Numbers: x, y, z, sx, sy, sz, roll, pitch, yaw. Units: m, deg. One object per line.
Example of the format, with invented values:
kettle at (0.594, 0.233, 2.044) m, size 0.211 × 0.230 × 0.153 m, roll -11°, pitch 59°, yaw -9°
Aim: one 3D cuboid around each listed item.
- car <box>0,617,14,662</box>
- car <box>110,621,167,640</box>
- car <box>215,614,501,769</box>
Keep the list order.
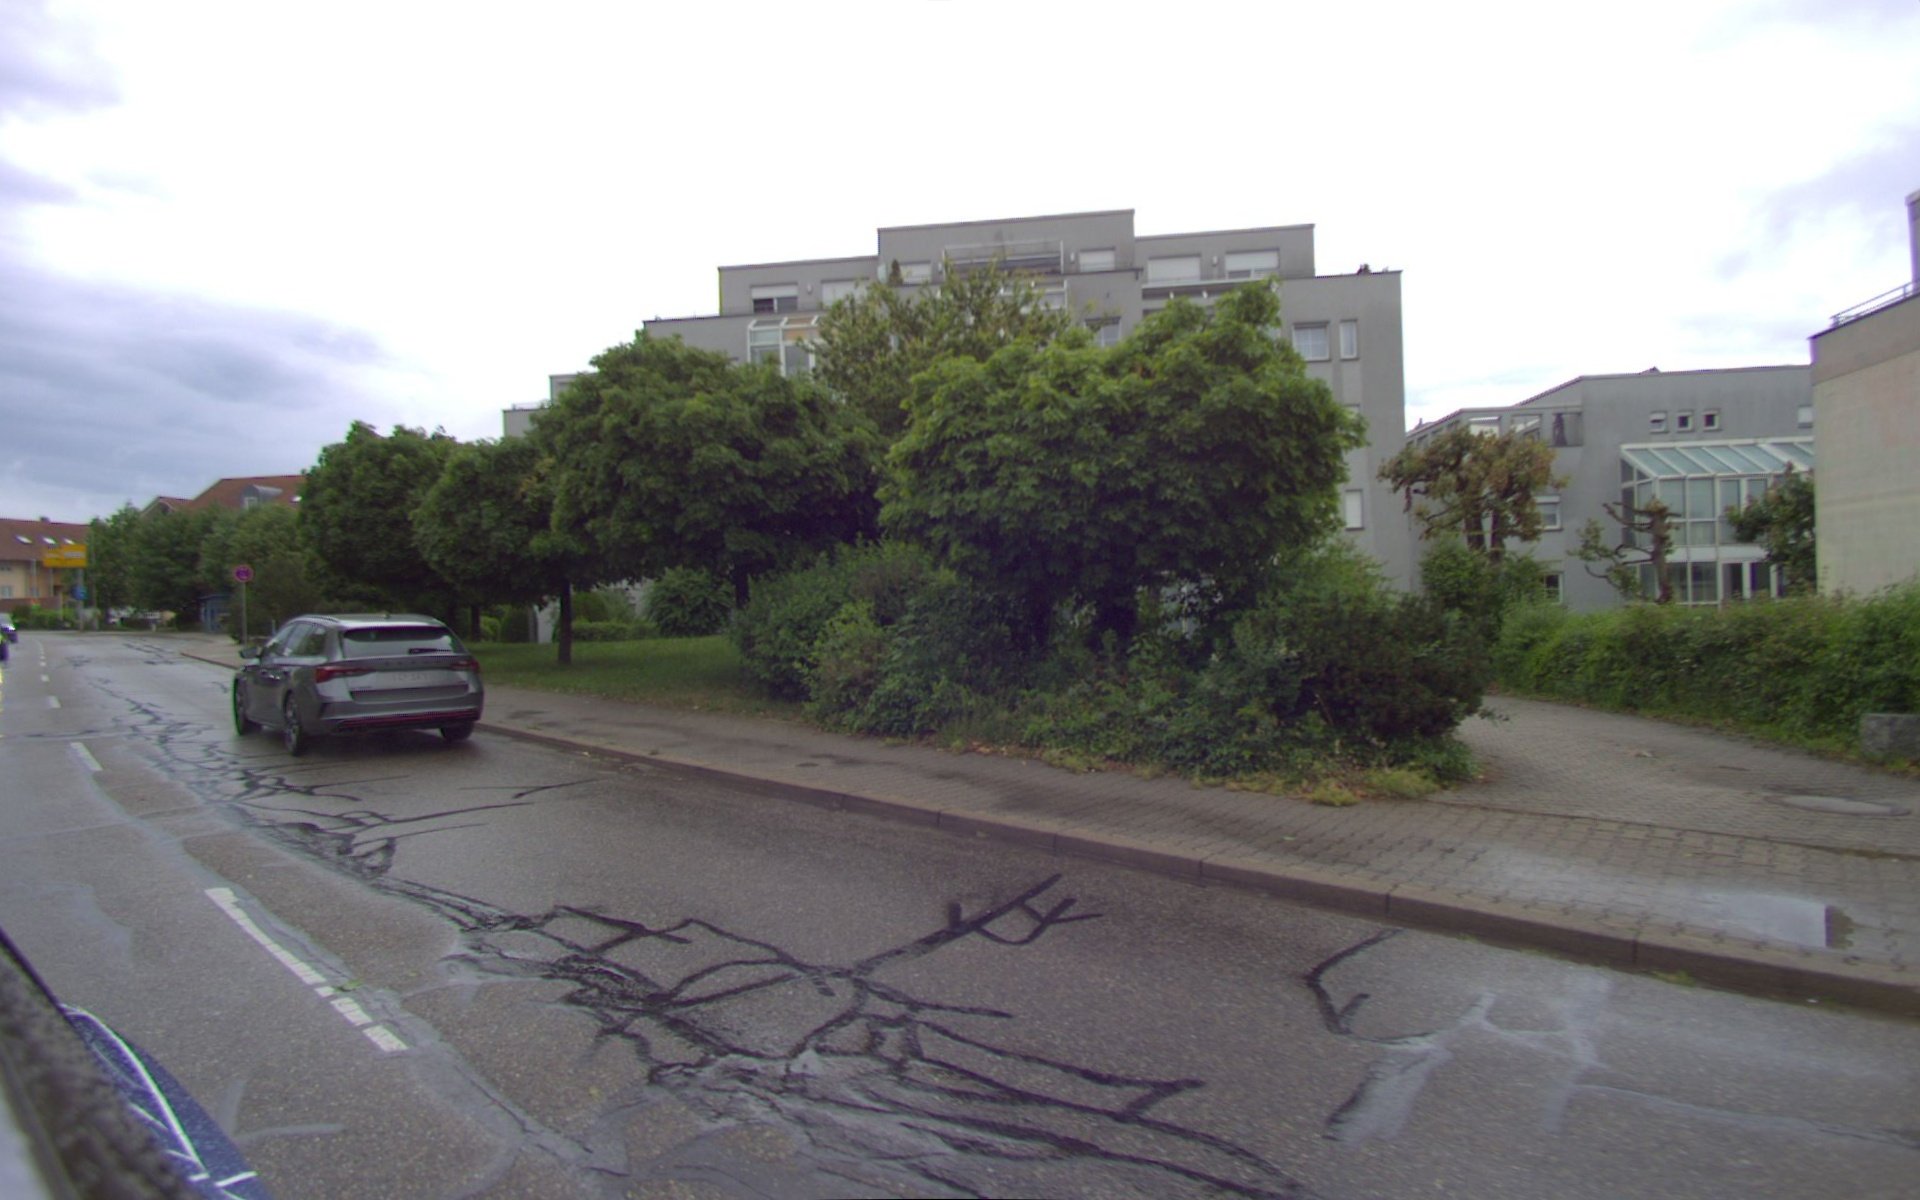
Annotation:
car at (-33.058, 1.326, 33.844) m, size 1.813 × 1.459 × 4.006 m, roll -2°, pitch 1°, yaw -40°
car at (-73.543, 2.764, 90.651) m, size 3.951 × 1.613 × 1.735 m, roll -1°, pitch -1°, yaw 6°
car at (-7.044, 0.905, 11.656) m, size 4.142 × 1.425 × 1.722 m, roll -1°, pitch 0°, yaw 43°
